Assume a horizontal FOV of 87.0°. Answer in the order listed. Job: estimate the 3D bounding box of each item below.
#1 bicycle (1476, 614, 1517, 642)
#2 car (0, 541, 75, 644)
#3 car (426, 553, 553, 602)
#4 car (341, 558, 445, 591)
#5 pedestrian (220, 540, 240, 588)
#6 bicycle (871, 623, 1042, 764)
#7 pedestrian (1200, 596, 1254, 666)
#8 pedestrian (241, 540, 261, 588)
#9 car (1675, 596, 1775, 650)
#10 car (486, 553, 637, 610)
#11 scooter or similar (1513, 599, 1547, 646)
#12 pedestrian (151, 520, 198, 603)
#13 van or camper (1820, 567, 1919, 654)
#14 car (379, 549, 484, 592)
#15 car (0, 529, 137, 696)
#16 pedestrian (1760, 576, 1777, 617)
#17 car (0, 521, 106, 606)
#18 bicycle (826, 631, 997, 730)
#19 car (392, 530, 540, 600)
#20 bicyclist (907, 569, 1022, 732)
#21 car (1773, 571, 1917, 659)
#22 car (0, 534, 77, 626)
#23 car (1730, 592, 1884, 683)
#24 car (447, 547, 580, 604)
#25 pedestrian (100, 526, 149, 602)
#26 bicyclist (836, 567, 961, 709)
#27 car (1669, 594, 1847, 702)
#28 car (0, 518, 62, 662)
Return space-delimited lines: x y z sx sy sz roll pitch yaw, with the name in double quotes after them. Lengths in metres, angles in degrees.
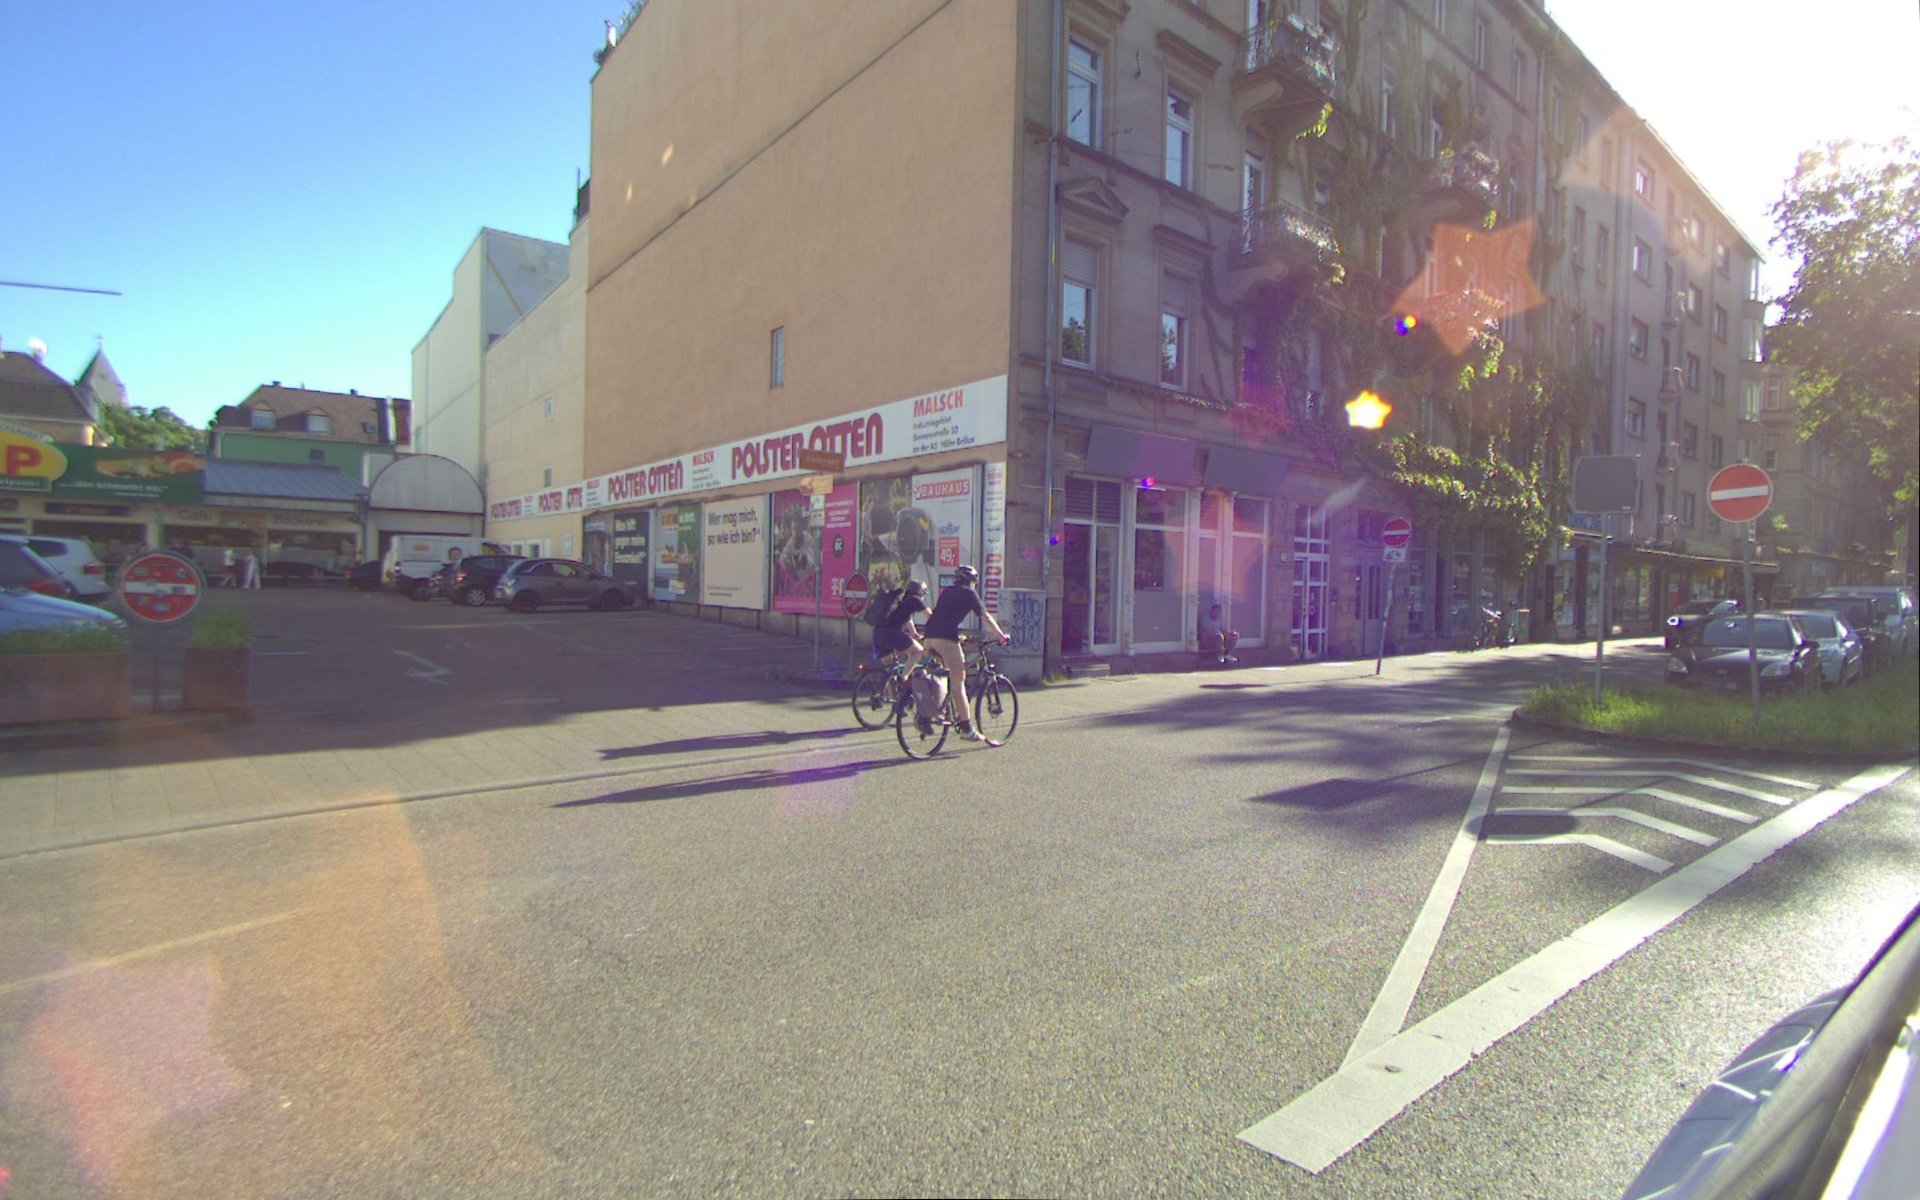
14.290 0.733 26.951 1.486 0.714 0.469 0 1 -41 "bicycle"
-15.810 -0.137 15.133 3.871 1.563 1.544 0 2 -42 "car"
-15.504 -0.765 33.425 3.576 1.552 1.682 -1 2 -35 "car"
-25.244 -1.128 45.102 3.922 1.371 1.760 0 1 -33 "car"
-31.255 -1.534 43.314 0.635 2.039 0.562 0 1 -41 "pedestrian"
0.022 0.824 9.710 0.753 1.116 1.932 2 1 31 "bicycle"
5.055 0.562 19.136 0.701 1.277 0.716 0 0 -41 "pedestrian"
-30.492 -1.547 43.522 0.635 2.039 0.562 0 1 -40 "pedestrian"
23.395 0.648 30.900 4.306 1.547 1.699 0 0 -42 "car"
-10.989 -0.551 28.010 3.580 1.481 1.680 -2 2 -39 "car"
15.604 0.597 27.738 0.631 1.188 1.720 2 1 25 "scooter or similar"
-19.841 -0.957 25.569 0.907 2.039 0.818 0 1 -40 "pedestrian"
23.982 0.211 26.248 5.007 2.039 1.887 0 2 -42 "van or camper"
-22.978 -1.282 43.996 3.967 1.759 1.664 0 1 -30 "car"
-10.790 0.108 10.055 3.935 1.665 1.746 -1 2 -45 "car"
36.628 -0.171 45.844 0.507 1.856 0.469 0 1 -41 "pedestrian"
-18.985 -0.710 19.465 3.871 1.601 1.659 0 2 -42 "car"
-0.518 0.869 11.421 1.884 0.931 0.651 0 5 -41 "bicycle"
-18.195 -1.259 37.325 4.785 2.442 1.713 0 1 -30 "car"
0.055 0.453 9.749 0.740 1.480 0.941 0 0 30 "bicyclist"
19.927 0.280 22.746 3.930 1.786 1.868 0 2 -41 "car"
-17.519 -0.363 17.125 3.871 1.563 1.544 0 2 -42 "car"
16.155 0.645 19.246 3.932 1.537 1.740 0 -1 -43 "car"
-13.986 -0.792 31.779 3.576 1.690 1.682 -1 2 -35 "car"
-20.505 -0.871 24.847 0.907 1.818 0.818 0 1 -40 "pedestrian"
-0.680 0.392 11.311 1.161 1.463 0.678 0 5 -41 "bicyclist"
12.914 0.685 16.307 3.932 1.537 1.642 0 -1 -43 "car"
-13.020 -0.153 11.685 3.933 1.714 1.747 0 3 -44 "car"
